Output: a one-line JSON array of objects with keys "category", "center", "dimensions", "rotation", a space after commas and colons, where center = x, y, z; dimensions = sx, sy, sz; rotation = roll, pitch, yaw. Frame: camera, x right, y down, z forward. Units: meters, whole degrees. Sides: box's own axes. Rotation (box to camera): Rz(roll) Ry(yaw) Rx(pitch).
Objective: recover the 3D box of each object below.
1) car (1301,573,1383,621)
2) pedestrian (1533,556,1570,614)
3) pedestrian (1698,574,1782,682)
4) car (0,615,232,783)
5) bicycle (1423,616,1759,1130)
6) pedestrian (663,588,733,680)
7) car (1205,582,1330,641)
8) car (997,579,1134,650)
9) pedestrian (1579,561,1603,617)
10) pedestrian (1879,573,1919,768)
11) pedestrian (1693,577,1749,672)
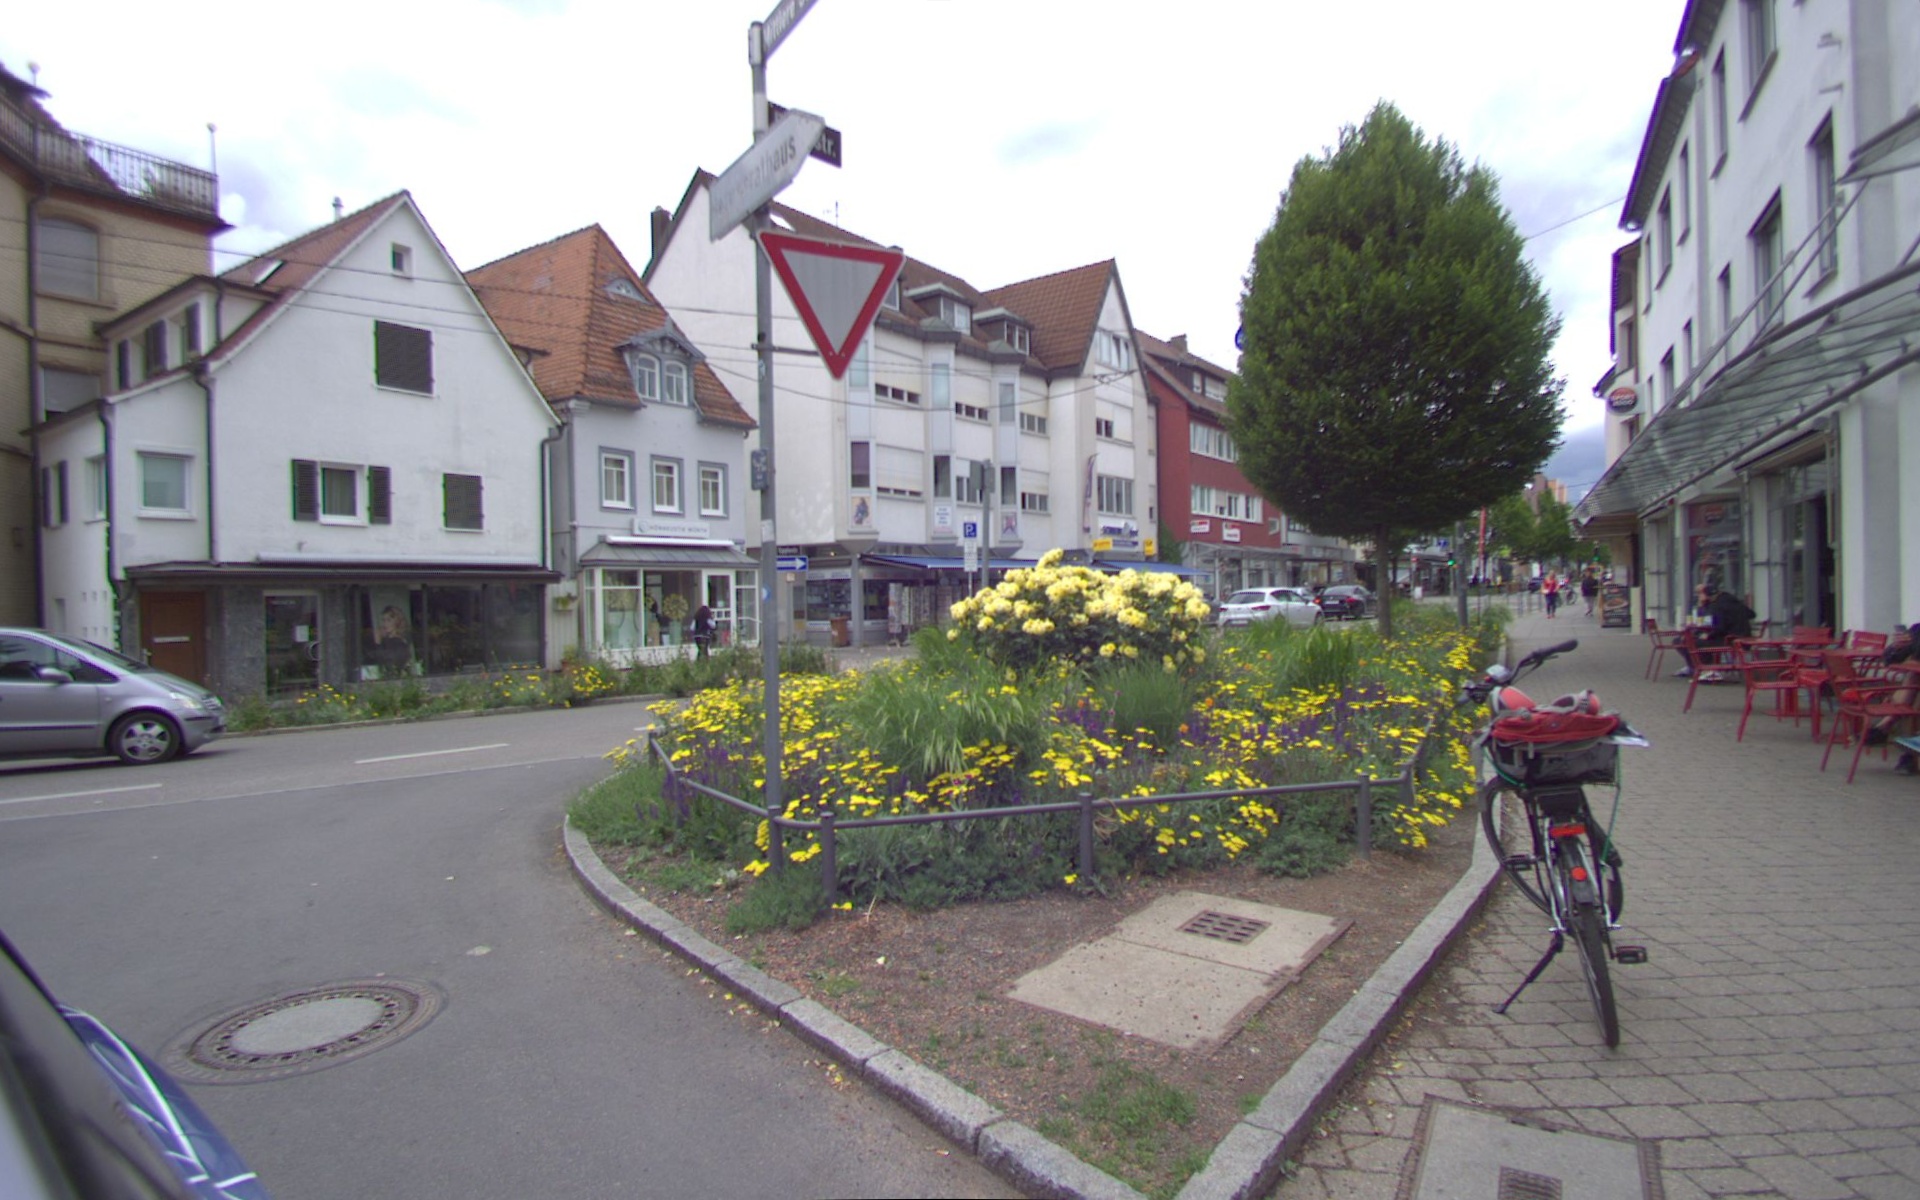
[{"category": "car", "center": [15.420, -0.140, 40.716], "dimensions": [2.037, 1.687, 4.322], "rotation": [-3, 1, 35]}, {"category": "pedestrian", "center": [21.512, -0.533, 36.818], "dimensions": [1.027, 2.029, 0.885], "rotation": [-3, -1, 35]}, {"category": "pedestrian", "center": [9.973, 0.342, 12.962], "dimensions": [0.761, 1.327, 0.563], "rotation": [0, 1, 29]}, {"category": "car", "center": [-10.472, 1.072, 10.917], "dimensions": [3.931, 1.639, 1.902], "rotation": [-2, -2, -25]}, {"category": "bicycle", "center": [2.154, 0.732, 3.655], "dimensions": [0.740, 1.249, 1.962], "rotation": [-2, 0, 27]}, {"category": "pedestrian", "center": [-6.022, 0.773, 23.277], "dimensions": [1.102, 2.029, 1.003], "rotation": [-3, 0, 31]}, {"category": "car", "center": [9.058, 0.313, 29.689], "dimensions": [1.850, 1.445, 3.942], "rotation": [-4, 0, 44]}, {"category": "car", "center": [3.067, 0.376, 28.883], "dimensions": [1.998, 1.868, 3.947], "rotation": [-3, -1, 39]}, {"category": "pedestrian", "center": [23.104, -0.393, 37.038], "dimensions": [0.668, 2.029, 0.628], "rotation": [-3, -1, 33]}, {"category": "pedestrian", "center": [6.904, 0.475, 6.873], "dimensions": [0.678, 1.342, 0.699], "rotation": [-2, -1, 16]}, {"category": "pedestrian", "center": [10.447, 0.333, 13.907], "dimensions": [0.499, 1.280, 0.487], "rotation": [-3, 0, 29]}]
